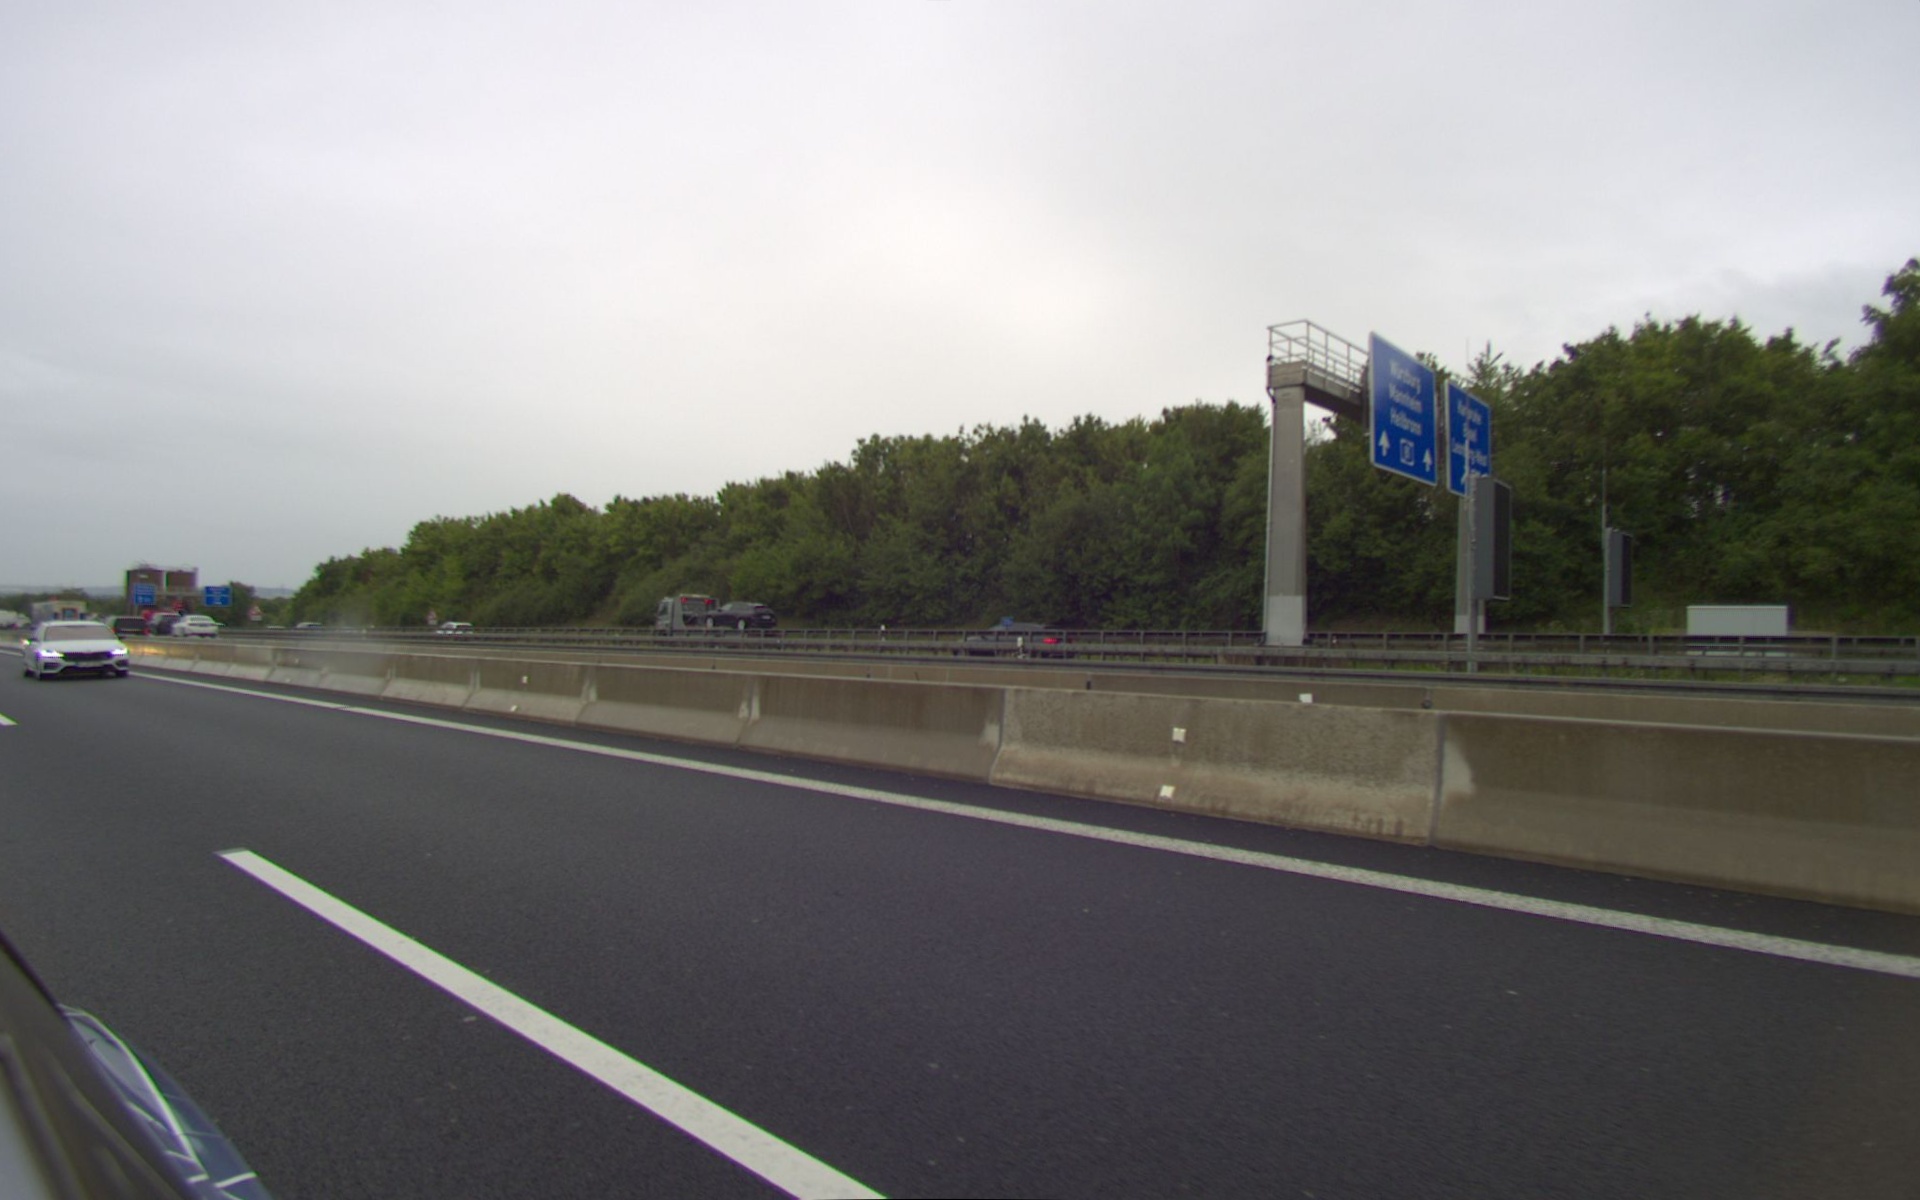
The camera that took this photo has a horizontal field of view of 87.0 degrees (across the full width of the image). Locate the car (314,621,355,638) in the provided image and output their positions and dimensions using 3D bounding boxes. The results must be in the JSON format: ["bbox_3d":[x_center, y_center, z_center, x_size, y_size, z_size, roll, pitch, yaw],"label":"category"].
[{"bbox_3d":[-56.816,2.635,91.849,4.774,1.467,1.800,-1,0,40],"label":"car"}]

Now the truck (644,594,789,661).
[{"bbox_3d":[-12.988,1.393,53.391,9.076,3.245,2.821,-1,0,42],"label":"truck"}]

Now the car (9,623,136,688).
[{"bbox_3d":[-23.128,1.366,26.306,4.774,1.467,1.800,-1,0,40],"label":"car"}]

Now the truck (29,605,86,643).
[{"bbox_3d":[-99.584,2.595,111.555,16.085,3.907,2.895,-1,0,42],"label":"truck"}]

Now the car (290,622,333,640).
[{"bbox_3d":[-54.543,2.621,85.088,4.774,1.422,1.748,-1,0,40],"label":"car"}]

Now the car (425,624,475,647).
[{"bbox_3d":[-38.543,2.637,76.414,4.774,1.593,1.641,-1,0,40],"label":"car"}]

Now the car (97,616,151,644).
[{"bbox_3d":[-53.479,1.864,64.734,4.774,1.694,1.851,-1,0,40],"label":"car"}]

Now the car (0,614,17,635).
[{"bbox_3d":[-106.358,2.698,112.072,5.688,2.339,2.108,-1,0,40],"label":"car"}]

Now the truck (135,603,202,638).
[{"bbox_3d":[-56.511,1.410,72.185,7.339,2.358,2.549,-1,0,42],"label":"truck"}]

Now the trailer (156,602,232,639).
[{"bbox_3d":[-50.925,1.331,67.166,7.944,2.358,2.549,-1,0,42],"label":"trailer"}]

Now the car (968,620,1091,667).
[{"bbox_3d":[2.325,1.440,34.558,3.998,1.467,1.658,-1,0,42],"label":"car"}]
